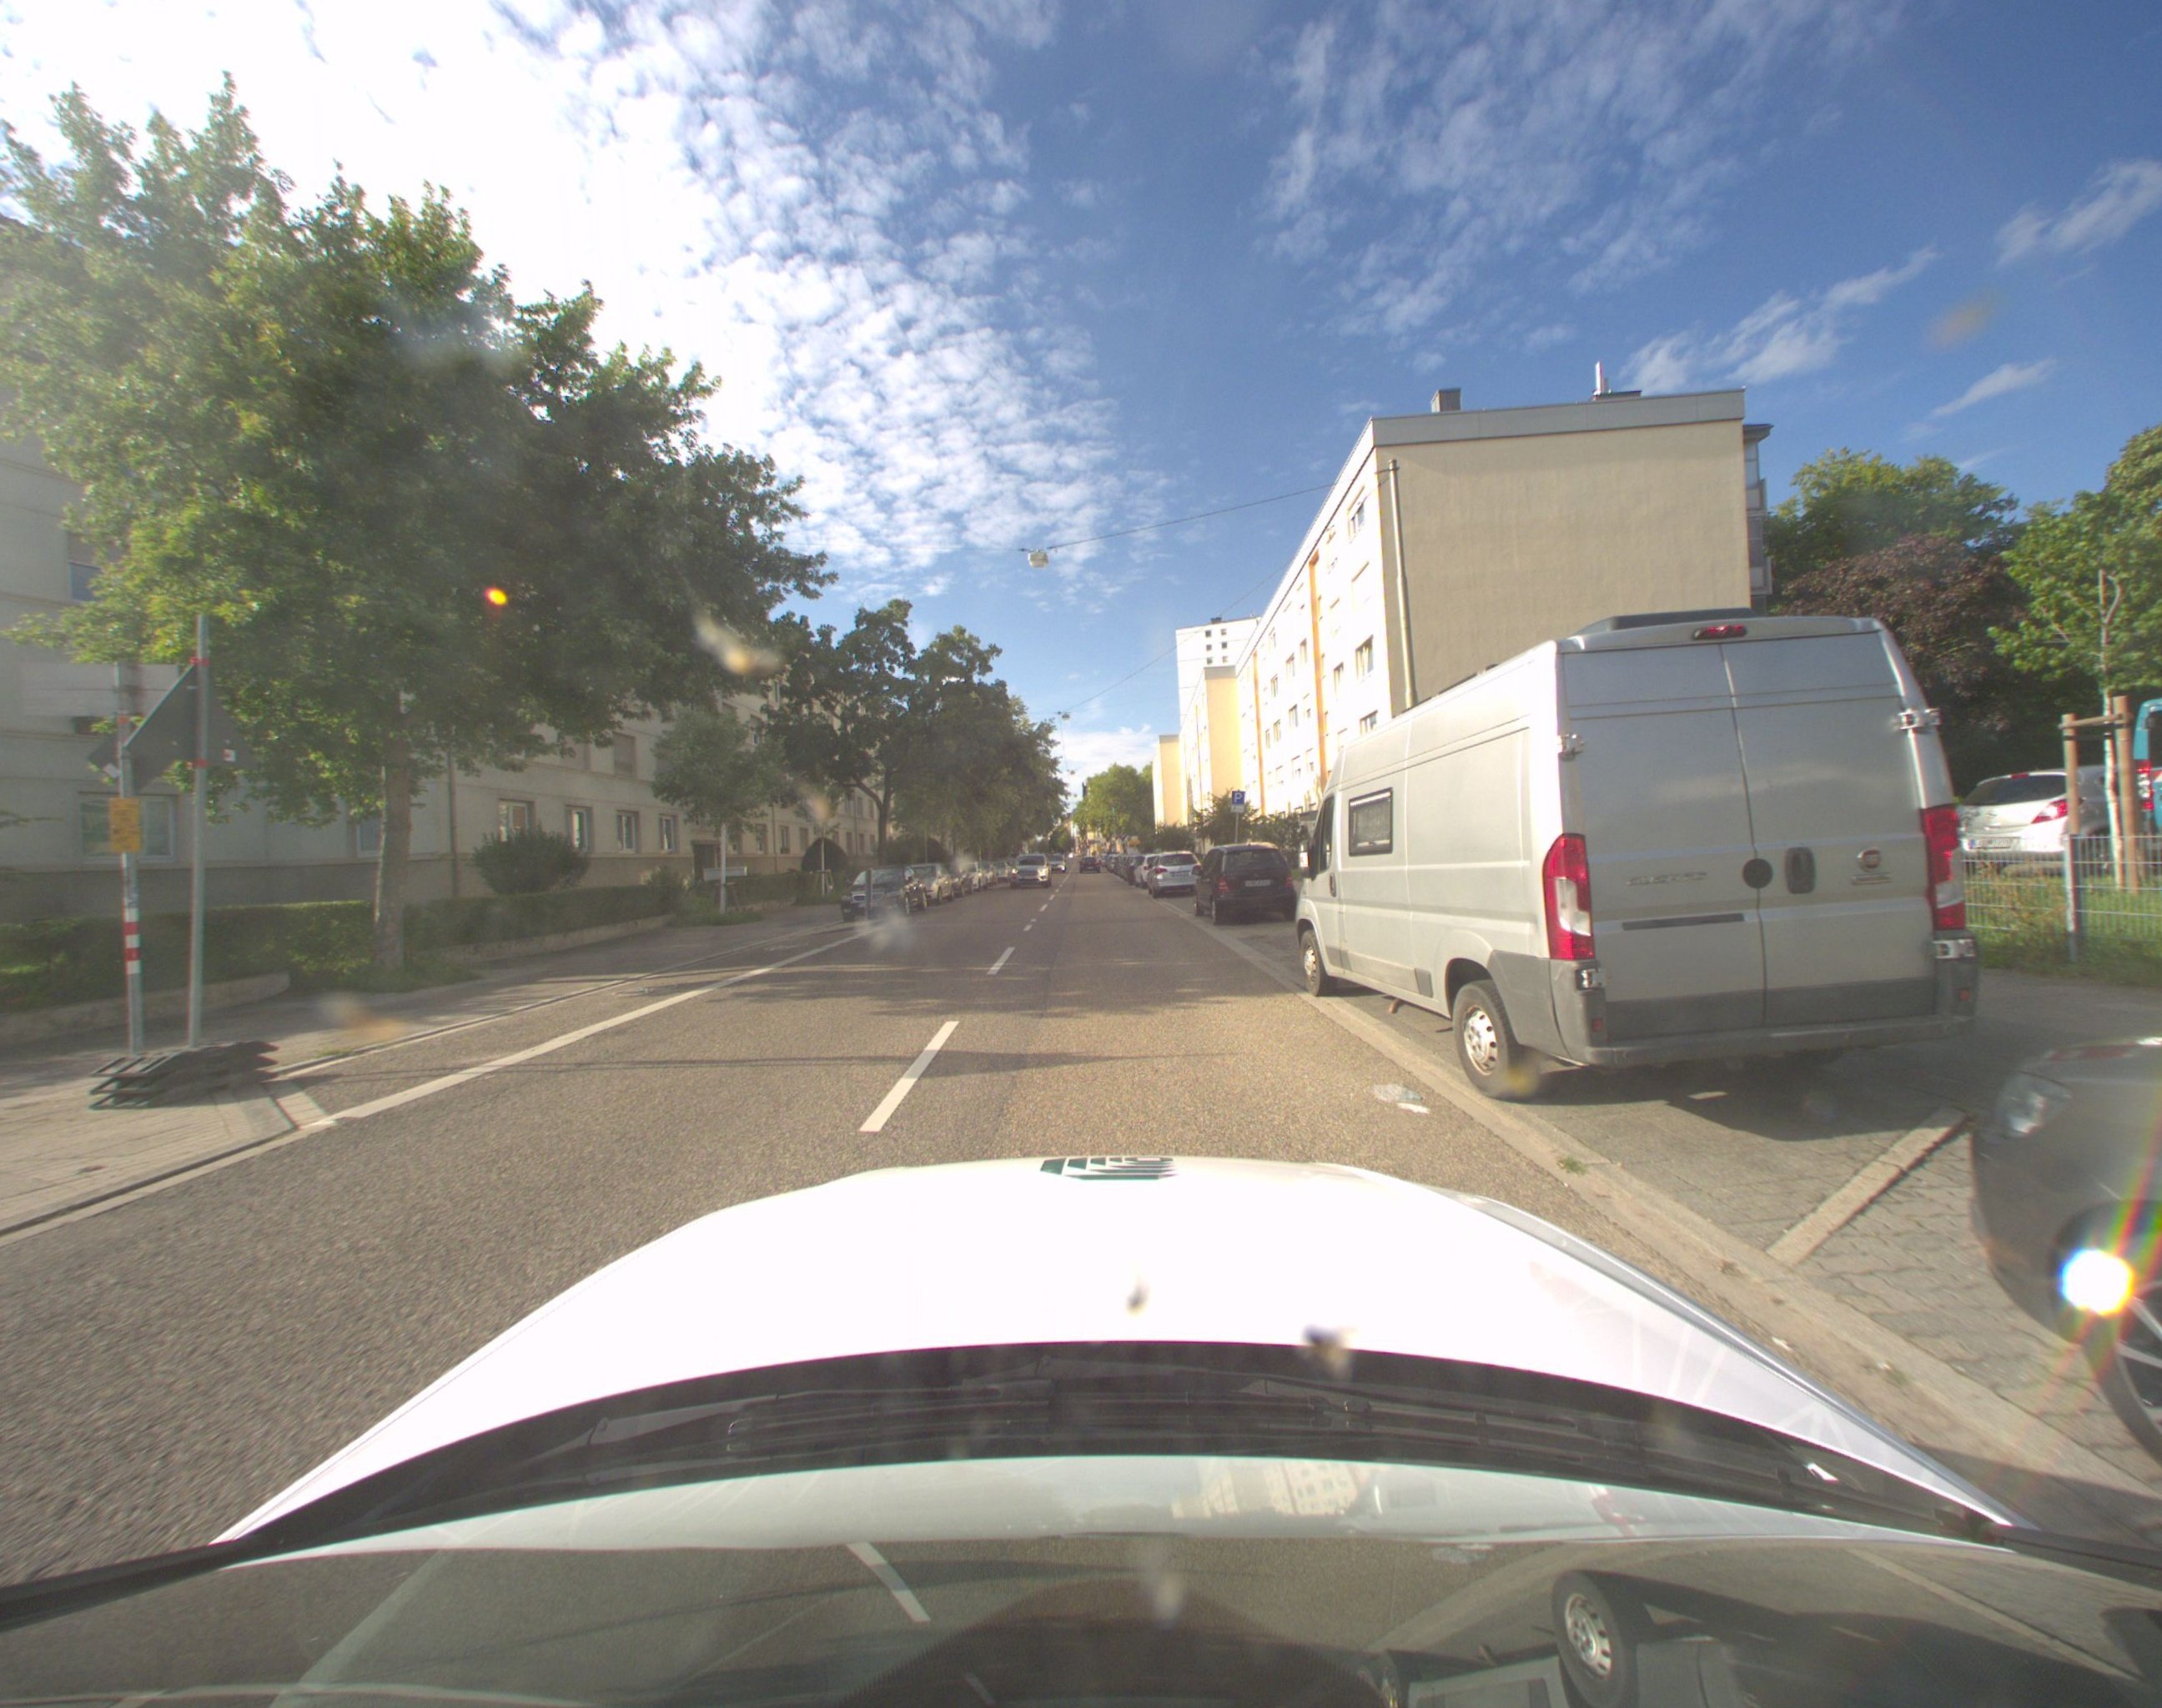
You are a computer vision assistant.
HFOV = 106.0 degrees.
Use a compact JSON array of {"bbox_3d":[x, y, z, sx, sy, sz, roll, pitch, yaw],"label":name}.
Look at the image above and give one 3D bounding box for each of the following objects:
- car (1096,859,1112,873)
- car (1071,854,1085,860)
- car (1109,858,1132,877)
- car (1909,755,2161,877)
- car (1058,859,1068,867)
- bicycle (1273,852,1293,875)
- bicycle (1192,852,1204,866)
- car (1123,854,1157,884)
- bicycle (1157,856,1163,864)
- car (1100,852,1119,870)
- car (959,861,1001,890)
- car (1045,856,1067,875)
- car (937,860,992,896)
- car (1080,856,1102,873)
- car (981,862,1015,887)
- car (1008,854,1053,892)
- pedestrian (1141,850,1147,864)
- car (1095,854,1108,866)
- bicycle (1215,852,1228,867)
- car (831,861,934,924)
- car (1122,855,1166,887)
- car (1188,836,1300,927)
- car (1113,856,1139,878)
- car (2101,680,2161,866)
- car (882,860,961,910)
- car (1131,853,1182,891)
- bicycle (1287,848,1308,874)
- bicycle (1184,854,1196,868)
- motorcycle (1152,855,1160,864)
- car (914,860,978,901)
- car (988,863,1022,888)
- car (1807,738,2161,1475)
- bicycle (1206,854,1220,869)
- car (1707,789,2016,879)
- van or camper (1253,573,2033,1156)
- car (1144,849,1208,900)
[{"bbox_3d":[2.663,1.385,94.393,1.722,1.487,4.642,-3,-1,1],"label":"car"},{"bbox_3d":[-1.007,0.944,255.717,3.984,1.420,1.995,-3,0,-8],"label":"car"},{"bbox_3d":[3.287,1.145,67.955,1.657,1.416,4.058,-4,-1,0],"label":"car"},{"bbox_3d":[14.418,-0.534,11.096,4.053,1.482,1.875,-3,0,9],"label":"car"},{"bbox_3d":[-3.525,1.757,161.081,1.852,1.528,4.011,-3,0,1],"label":"car"},{"bbox_3d":[10.066,0.501,40.652,0.520,1.074,1.590,-4,-2,0],"label":"bicycle"},{"bbox_3d":[11.139,0.453,77.838,0.724,1.291,2.635,-2,-1,0],"label":"bicycle"},{"bbox_3d":[3.227,0.818,45.342,1.677,1.501,3.875,-4,0,2],"label":"car"},{"bbox_3d":[11.145,0.790,115.196,0.527,1.115,2.209,-4,0,0],"label":"bicycle"},{"bbox_3d":[2.931,0.691,83.933,1.723,1.649,4.115,-4,0,-1],"label":"car"},{"bbox_3d":[-5.772,1.195,47.012,1.850,1.486,4.681,-4,0,-1],"label":"car"},{"bbox_3d":[-2.183,1.019,72.273,1.735,1.501,4.008,-3,0,-1],"label":"car"},{"bbox_3d":[-5.605,1.121,39.859,1.850,1.486,4.797,-6,0,0],"label":"car"},{"bbox_3d":[0.868,0.905,70.976,1.747,1.413,3.998,-2,0,-1],"label":"car"},{"bbox_3d":[-5.421,1.352,53.835,1.733,1.393,4.664,-5,0,-1],"label":"car"},{"bbox_3d":[-2.429,0.903,39.948,1.823,1.669,4.084,-3,0,0],"label":"car"},{"bbox_3d":[7.857,0.376,101.356,0.539,1.721,0.772,-4,0,5],"label":"pedestrian"},{"bbox_3d":[2.957,0.805,114.845,1.683,1.528,4.240,-2,0,2],"label":"car"},{"bbox_3d":[10.127,0.399,58.900,0.500,1.030,2.095,-5,-1,0],"label":"bicycle"},{"bbox_3d":[-5.633,1.028,23.687,1.922,1.486,4.417,-5,0,-2],"label":"car"},{"bbox_3d":[3.100,0.818,40.838,1.679,1.435,4.203,-4,0,-2],"label":"car"},{"bbox_3d":[3.391,0.531,17.593,1.667,1.602,3.973,-5,0,2],"label":"car"},{"bbox_3d":[3.363,0.941,61.715,1.657,1.491,3.940,-4,-1,0],"label":"car"},{"bbox_3d":[14.774,-1.044,8.767,4.245,2.192,2.371,-3,0,7],"label":"car"},{"bbox_3d":[-5.577,1.038,29.048,1.814,1.486,4.368,-5,0,0],"label":"car"},{"bbox_3d":[3.264,0.748,35.916,1.679,1.468,4.204,-4,0,-1],"label":"car"},{"bbox_3d":[10.777,0.367,40.569,0.520,1.216,1.590,-4,-2,0],"label":"bicycle"},{"bbox_3d":[10.438,0.663,77.765,0.724,1.291,2.635,-3,0,0],"label":"bicycle"},{"bbox_3d":[8.836,0.634,95.865,0.628,1.044,2.393,-4,0,-1],"label":"motorcycle"},{"bbox_3d":[-5.620,1.073,34.473,1.849,1.486,4.683,-3,0,0],"label":"car"},{"bbox_3d":[-5.460,1.516,59.243,1.849,1.486,4.943,-6,0,0],"label":"car"},{"bbox_3d":[3.162,0.497,0.472,1.667,1.648,4.205,-5,0,1],"label":"car"},{"bbox_3d":[9.544,0.524,58.787,0.592,1.030,2.118,-5,-1,0],"label":"bicycle"},{"bbox_3d":[15.221,-0.356,16.133,4.053,1.482,1.875,-3,0,9],"label":"car"},{"bbox_3d":[3.235,0.047,6.733,2.153,2.526,5.912,-5,0,0],"label":"van or camper"},{"bbox_3d":[3.204,0.655,28.074,1.757,1.523,4.331,-4,0,2],"label":"car"}]
